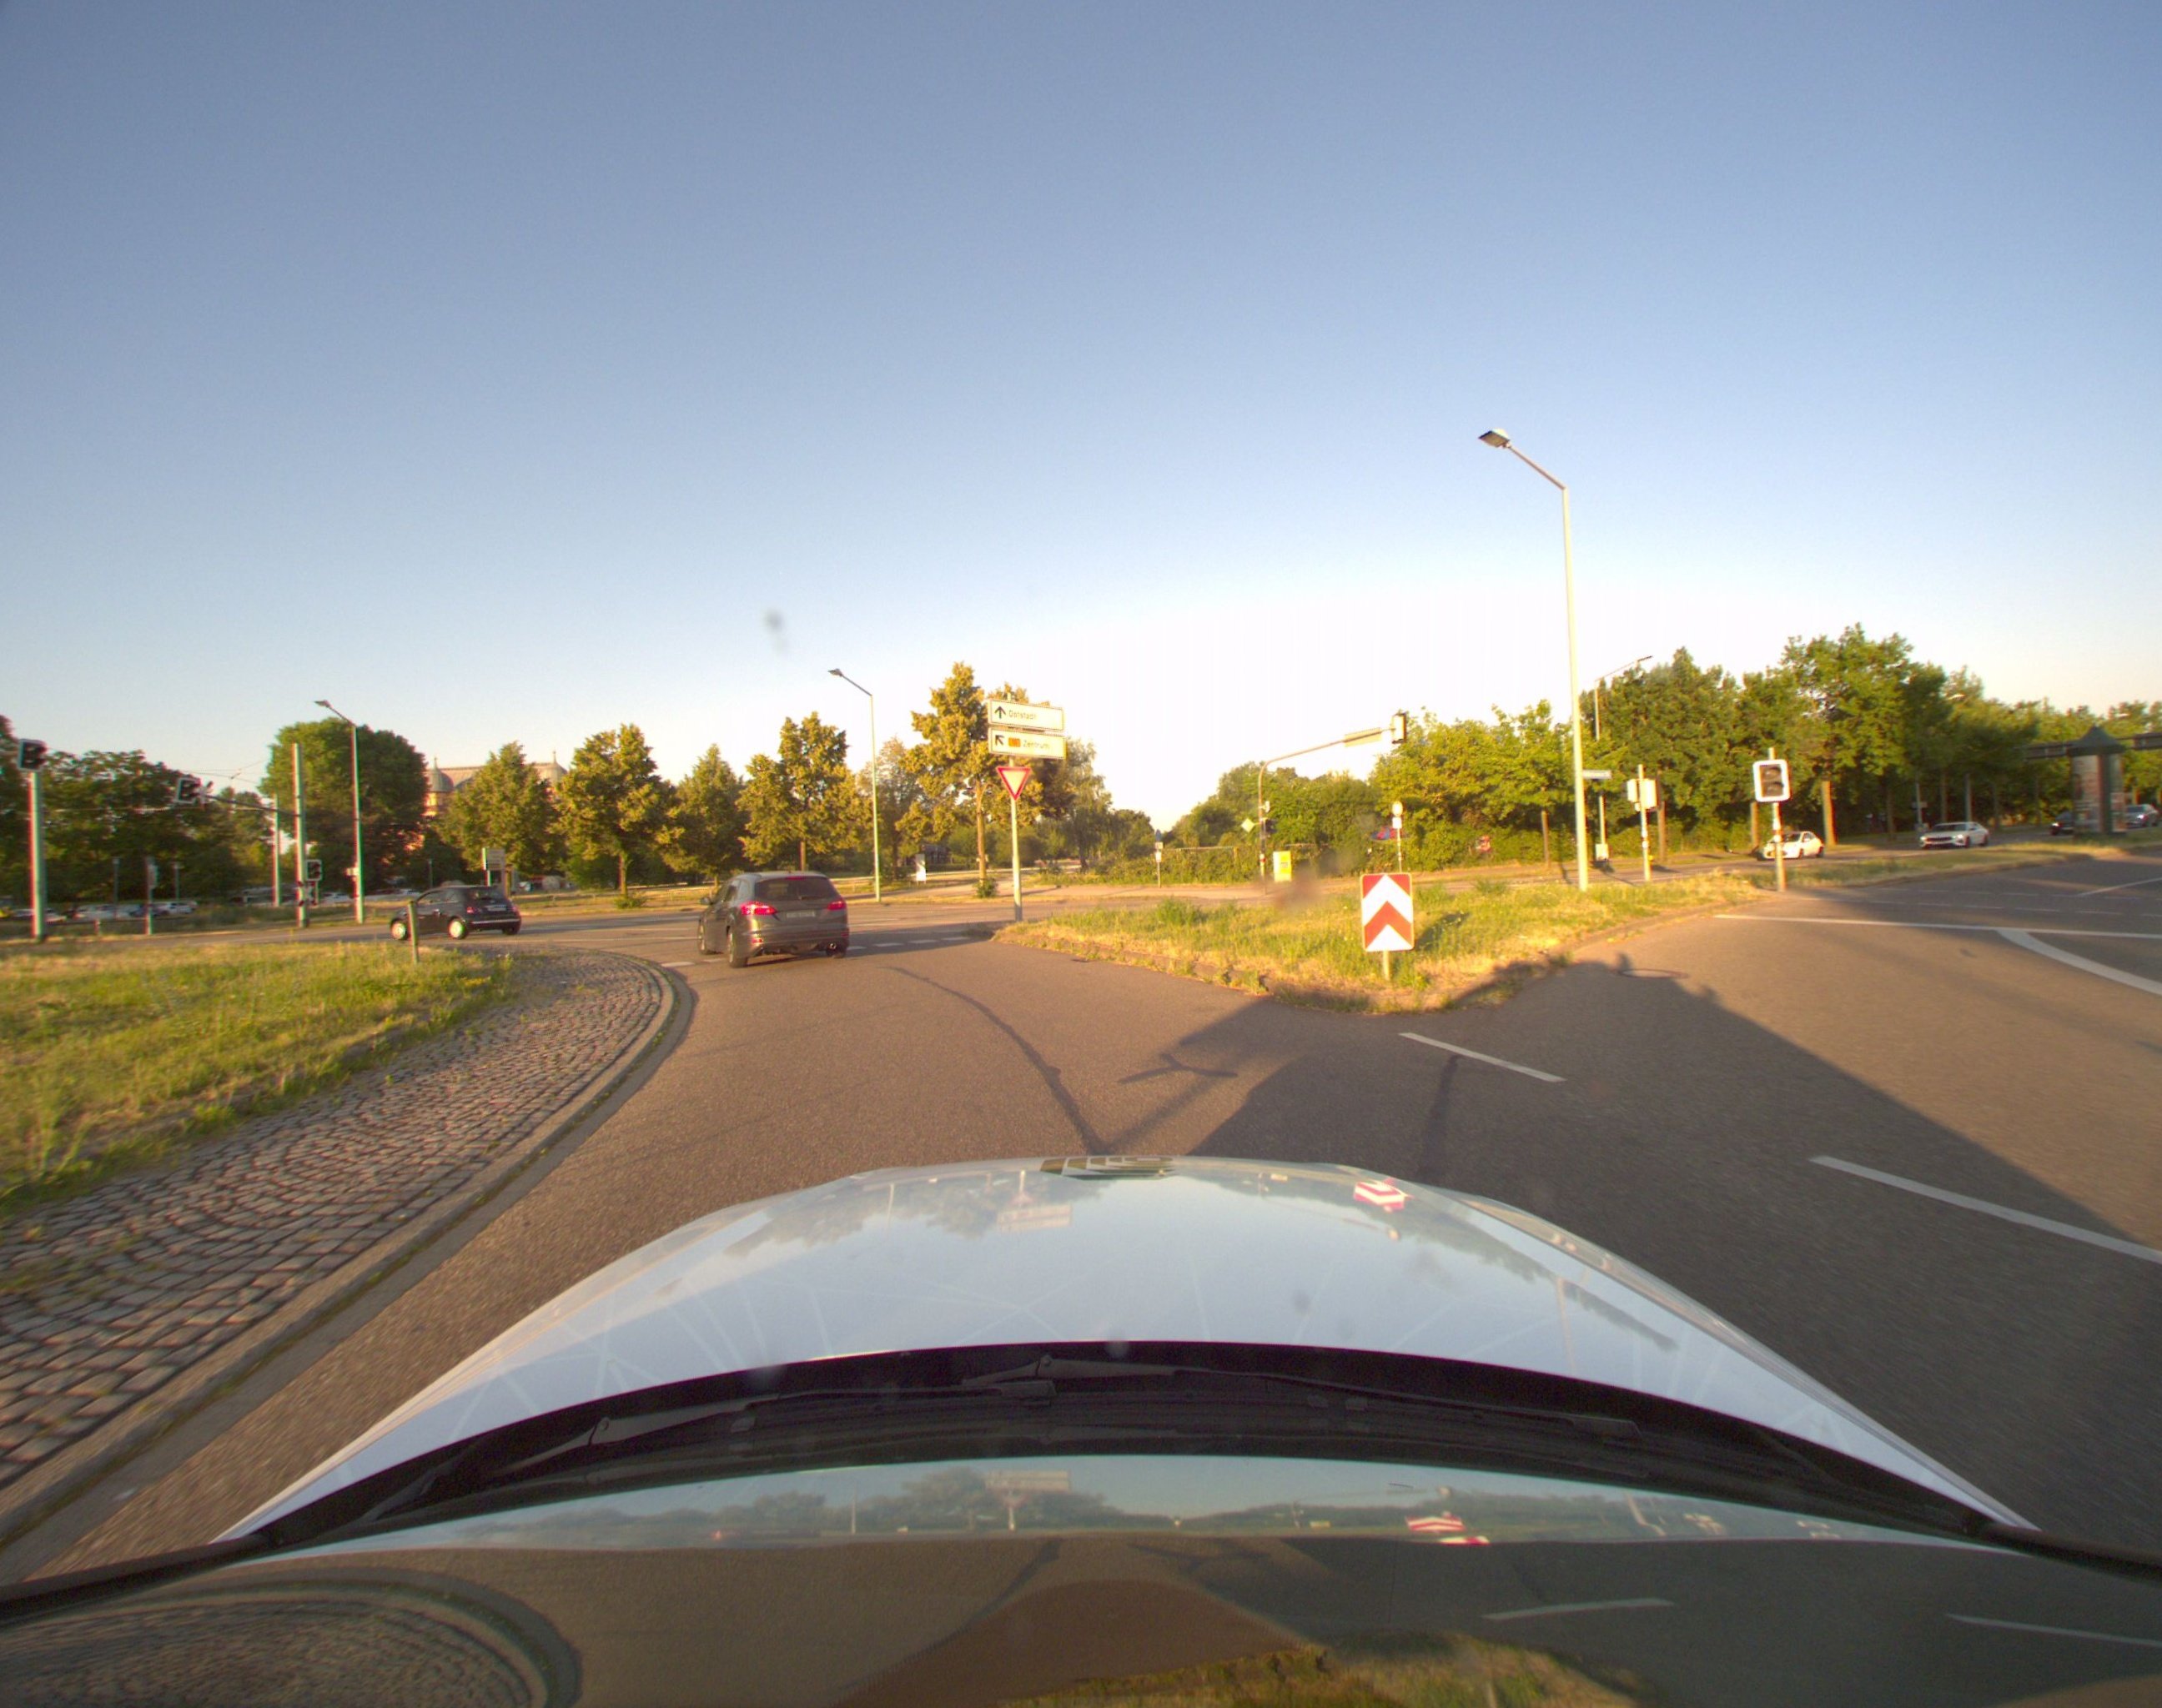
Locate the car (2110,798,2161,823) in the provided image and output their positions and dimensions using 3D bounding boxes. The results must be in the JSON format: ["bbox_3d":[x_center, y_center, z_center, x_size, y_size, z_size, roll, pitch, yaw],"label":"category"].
[{"bbox_3d":[80.745,-3.322,62.196,4.936,1.754,1.904,-2,-2,-30],"label":"car"}]

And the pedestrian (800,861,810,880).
[{"bbox_3d":[-25.021,1.509,73.808,0.526,1.626,0.584,-3,-1,44],"label":"pedestrian"}]

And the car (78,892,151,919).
[{"bbox_3d":[-85.222,4.537,71.829,3.973,2.098,2.000,-2,0,1],"label":"car"}]

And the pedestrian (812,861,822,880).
[{"bbox_3d":[-23.748,1.471,73.300,0.523,1.626,0.624,-3,0,37],"label":"pedestrian"}]

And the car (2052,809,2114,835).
[{"bbox_3d":[68.605,-2.176,55.749,4.467,1.633,1.787,-2,-1,-28],"label":"car"}]

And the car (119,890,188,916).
[{"bbox_3d":[-85.117,4.493,74.737,3.973,2.098,2.000,-2,0,1],"label":"car"}]

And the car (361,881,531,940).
[{"bbox_3d":[-18.026,1.595,23.147,4.088,1.446,1.760,-2,0,18],"label":"car"}]

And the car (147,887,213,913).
[{"bbox_3d":[-85.340,4.345,77.176,3.973,2.098,2.000,-2,0,1],"label":"car"}]

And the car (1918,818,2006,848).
[{"bbox_3d":[48.660,-1.146,44.967,4.551,1.449,1.715,-3,-1,-21],"label":"car"}]

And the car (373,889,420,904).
[{"bbox_3d":[-83.996,5.161,100.004,3.974,1.551,2.000,-2,0,0],"label":"car"}]

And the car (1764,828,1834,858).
[{"bbox_3d":[38.446,-0.579,43.601,3.493,1.443,1.541,-2,-1,-26],"label":"car"}]

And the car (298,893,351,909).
[{"bbox_3d":[-84.464,5.212,90.961,3.974,1.551,2.000,-2,0,0],"label":"car"}]

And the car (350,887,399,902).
[{"bbox_3d":[-84.311,4.828,97.253,3.974,1.551,2.000,-2,0,0],"label":"car"}]

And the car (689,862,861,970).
[{"bbox_3d":[-5.339,0.934,13.873,1.759,1.466,4.090,-2,0,-35],"label":"car"}]
